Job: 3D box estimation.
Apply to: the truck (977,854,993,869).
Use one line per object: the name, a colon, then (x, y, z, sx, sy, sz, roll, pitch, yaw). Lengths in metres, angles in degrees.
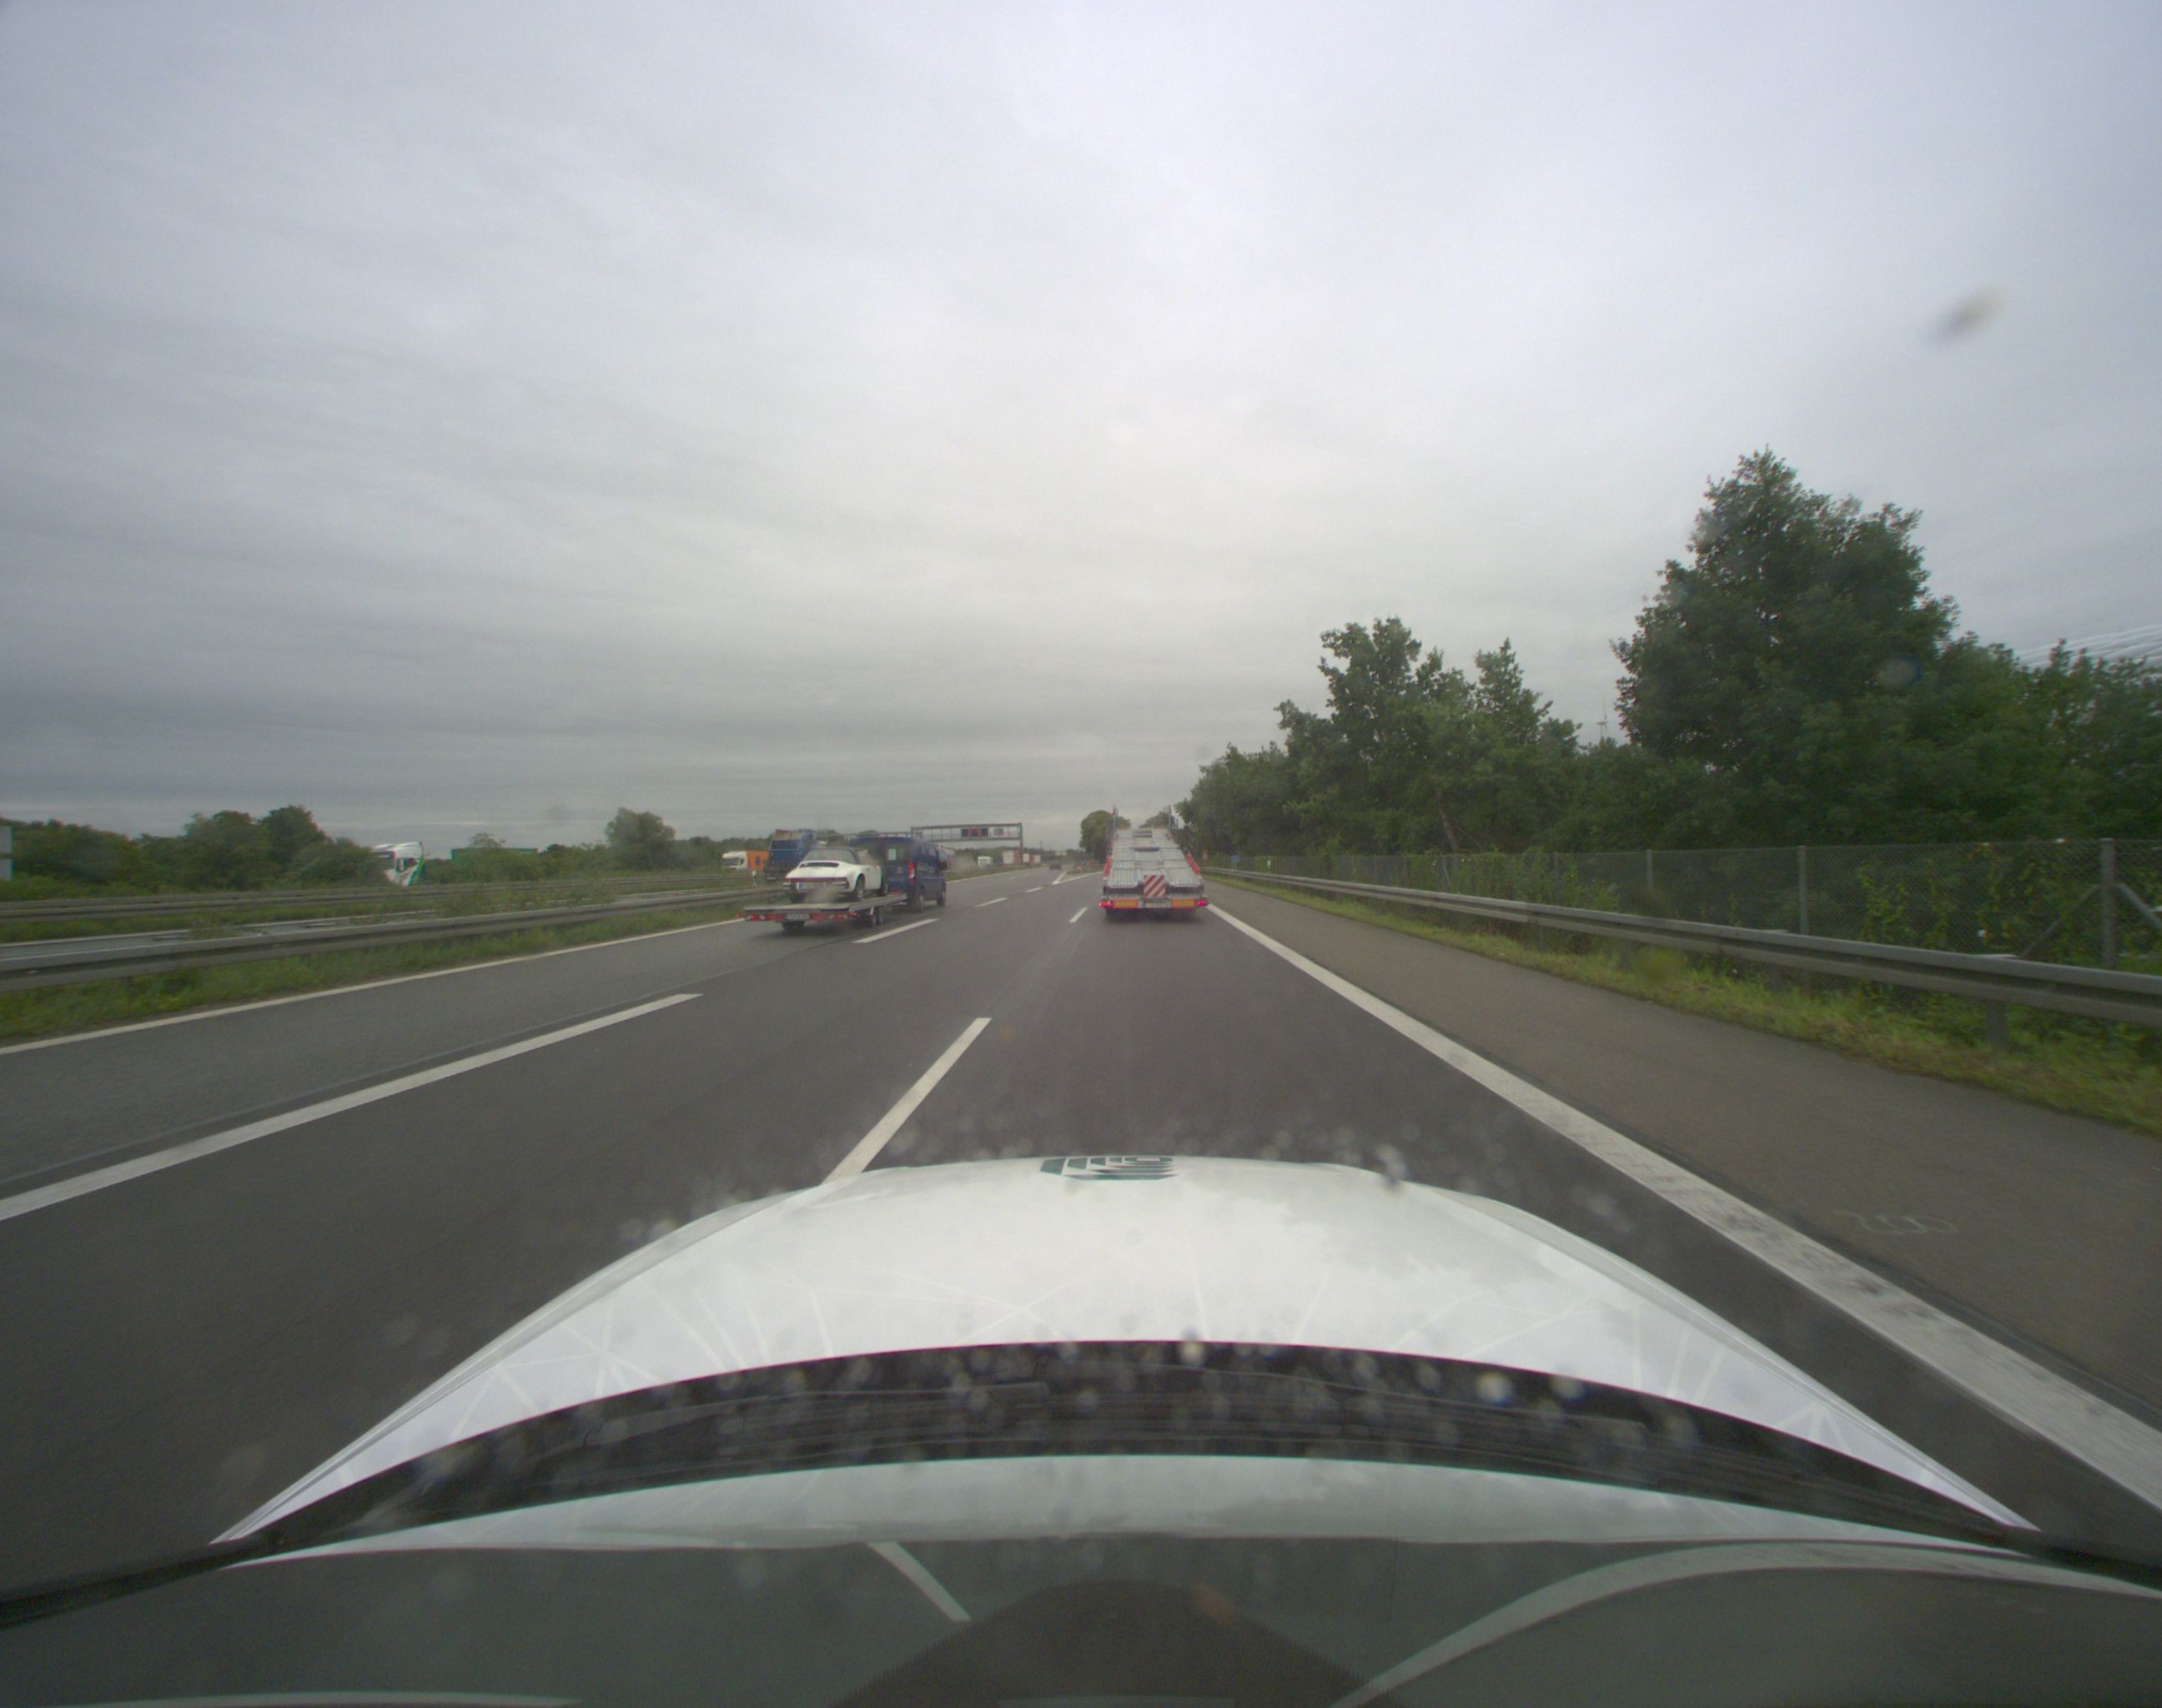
truck: (-17.484, 1.294, 149.019, 2.235, 2.704, 5.279, 0, 0, 0)

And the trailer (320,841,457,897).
trailer: (-45.679, 0.950, 54.076, 2.951, 3.403, 7.268, -1, 0, -1)

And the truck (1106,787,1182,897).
truck: (2.530, -0.428, 34.286, 2.727, 3.968, 9.135, -1, 0, 3)

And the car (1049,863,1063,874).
car: (-3.949, 2.239, 127.848, 1.955, 1.637, 5.624, 0, -1, 0)

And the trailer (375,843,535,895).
trailer: (-45.802, 1.033, 60.367, 2.951, 3.403, 11.797, -1, 0, -1)

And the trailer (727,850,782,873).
trailer: (-45.619, 1.063, 114.279, 2.676, 3.074, 12.565, 0, -1, 0)

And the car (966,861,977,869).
car: (-21.663, 2.172, 160.820, 1.678, 1.530, 3.997, 0, 0, -2)

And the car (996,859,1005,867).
car: (-20.698, 2.370, 209.443, 1.724, 2.014, 3.999, 0, -1, 0)

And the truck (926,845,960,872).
truck: (-17.894, 0.606, 105.995, 2.847, 3.365, 8.630, -1, 0, 0)

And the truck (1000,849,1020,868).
truck: (-16.906, 1.079, 194.718, 3.721, 4.417, 10.194, 0, 0, 0)

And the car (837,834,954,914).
car: (-5.799, 0.589, 26.459, 2.365, 2.266, 6.255, 0, 0, 0)

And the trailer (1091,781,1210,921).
trailer: (1.968, -0.056, 24.450, 2.765, 3.285, 10.417, -1, 0, 4)

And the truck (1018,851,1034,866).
truck: (-16.308, 1.277, 241.959, 3.721, 4.417, 11.896, 0, 0, 0)

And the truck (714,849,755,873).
truck: (-45.676, 0.964, 107.604, 2.676, 3.074, 6.454, 0, -1, 0)

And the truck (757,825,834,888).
truck: (-18.500, 0.205, 53.290, 2.631, 3.812, 7.337, 0, -1, -2)

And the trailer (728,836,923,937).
trailer: (-5.795, 0.674, 19.816, 2.477, 1.994, 7.062, 0, 0, 0)
